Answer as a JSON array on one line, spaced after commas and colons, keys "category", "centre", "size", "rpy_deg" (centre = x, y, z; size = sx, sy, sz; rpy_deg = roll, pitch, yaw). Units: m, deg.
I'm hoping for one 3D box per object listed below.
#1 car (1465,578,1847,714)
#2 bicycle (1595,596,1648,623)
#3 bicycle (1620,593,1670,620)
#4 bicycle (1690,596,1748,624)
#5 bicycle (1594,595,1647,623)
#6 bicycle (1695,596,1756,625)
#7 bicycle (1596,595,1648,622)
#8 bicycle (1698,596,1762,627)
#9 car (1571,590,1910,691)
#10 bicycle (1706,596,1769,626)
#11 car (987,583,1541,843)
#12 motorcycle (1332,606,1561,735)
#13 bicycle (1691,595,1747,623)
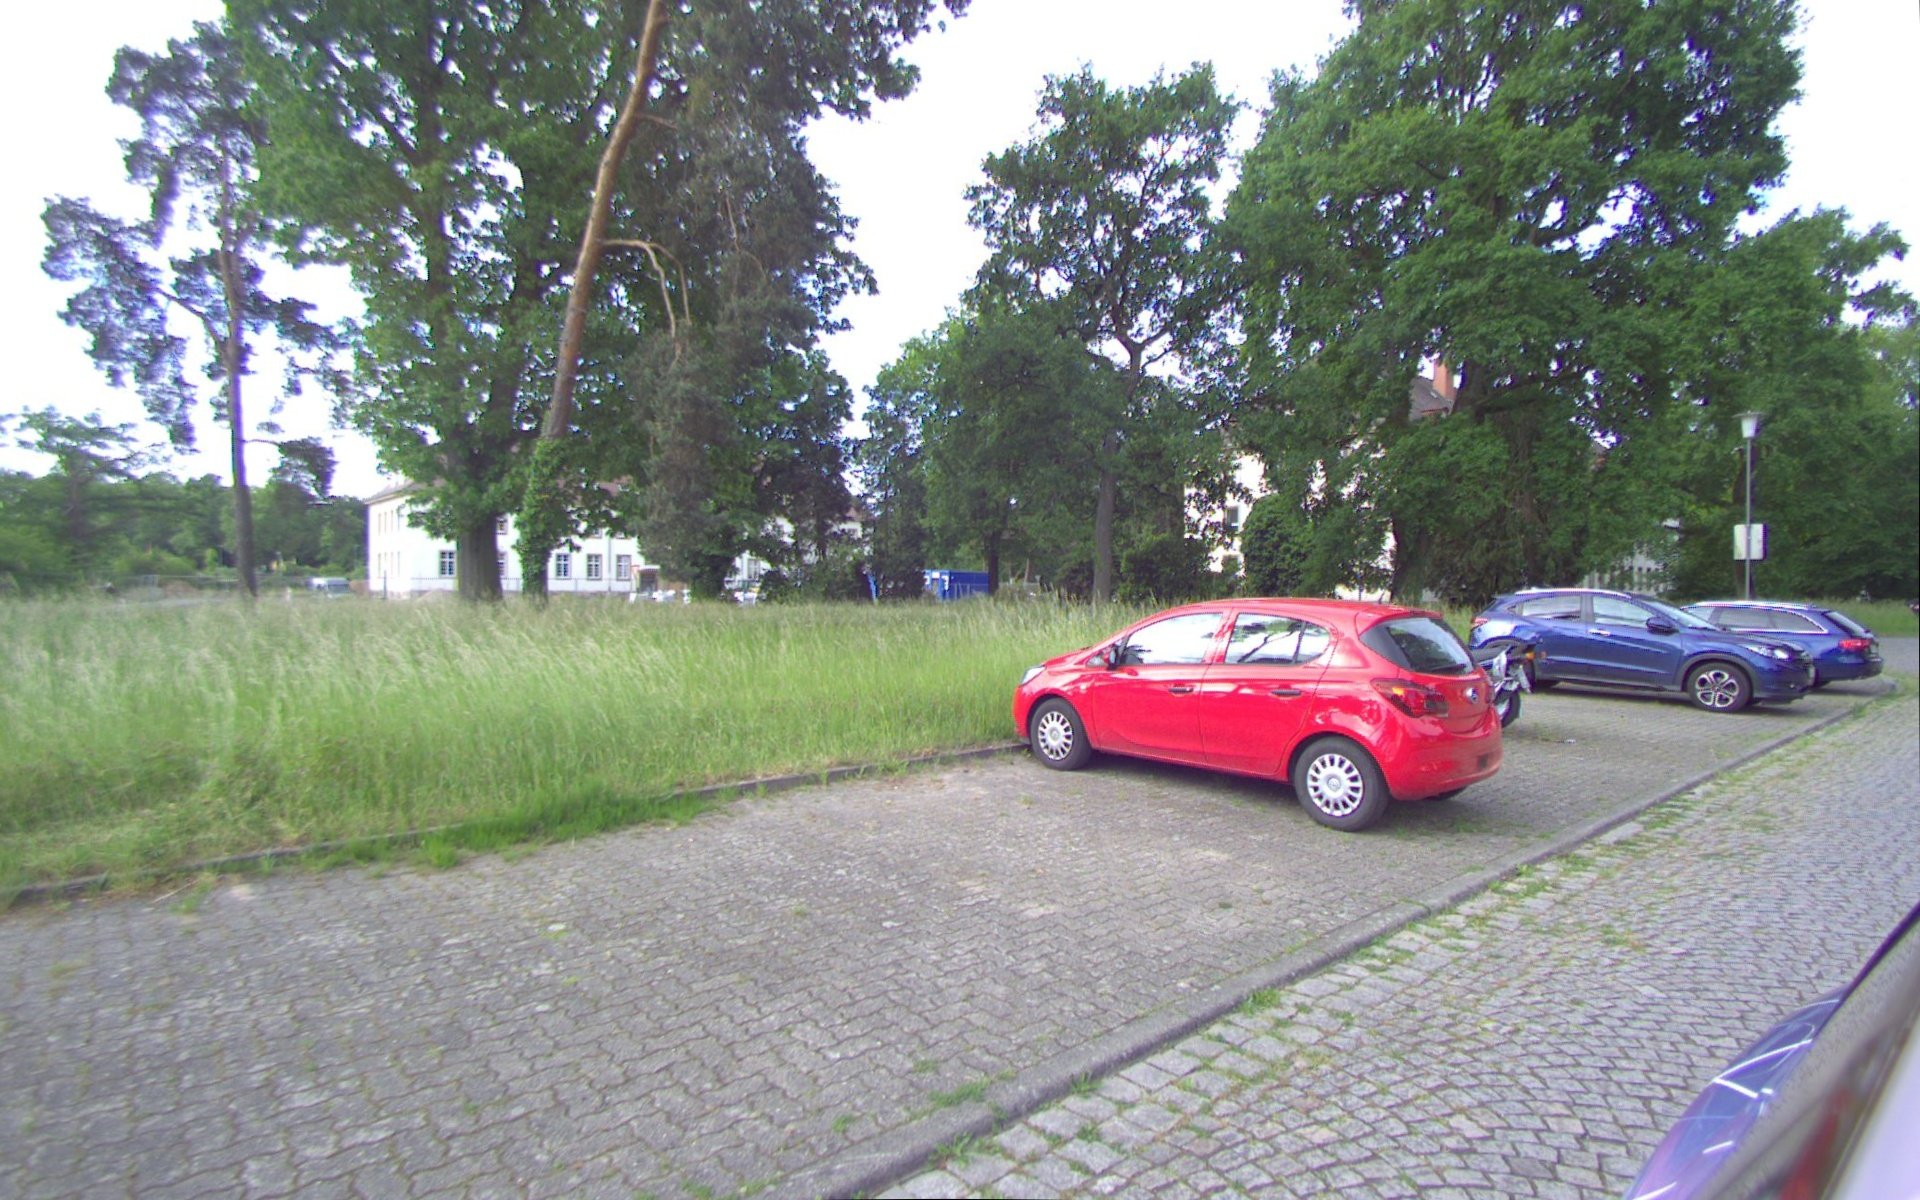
[{"category": "car", "centre": [9.919, 0.525, 14.682], "size": [1.854, 1.643, 4.251], "rpy_deg": [0, 2, -42]}, {"category": "bicycle", "centre": [28.474, 0.405, 43.569], "size": [1.839, 1.185, 0.484], "rpy_deg": [0, 0, 24]}, {"category": "bicycle", "centre": [31.639, 0.291, 46.773], "size": [1.851, 1.184, 0.481], "rpy_deg": [2, 1, 40]}, {"category": "bicycle", "centre": [32.813, 0.428, 43.775], "size": [1.921, 1.185, 0.483], "rpy_deg": [-1, -1, 28]}, {"category": "bicycle", "centre": [28.759, 0.376, 44.094], "size": [1.839, 1.185, 0.484], "rpy_deg": [0, 0, 24]}, {"category": "bicycle", "centre": [31.970, 0.440, 42.292], "size": [1.918, 1.185, 0.484], "rpy_deg": [-1, -1, 24]}, {"category": "bicycle", "centre": [29.198, 0.369, 44.656], "size": [1.842, 1.185, 0.483], "rpy_deg": [0, 0, 28]}, {"category": "bicycle", "centre": [30.726, 0.459, 40.406], "size": [1.916, 1.185, 0.484], "rpy_deg": [-1, -1, 22]}, {"category": "car", "centre": [13.467, 0.603, 17.700], "size": [1.892, 1.457, 4.368], "rpy_deg": [0, 1, -39]}, {"category": "bicycle", "centre": [31.296, 0.449, 40.765], "size": [1.916, 1.185, 0.484], "rpy_deg": [-1, -1, 22]}, {"category": "car", "centre": [2.202, 0.649, 8.129], "size": [1.754, 1.515, 3.929], "rpy_deg": [0, 2, -42]}, {"category": "motorcycle", "centre": [5.337, 0.721, 11.256], "size": [0.558, 1.217, 2.233], "rpy_deg": [0, 2, -43]}, {"category": "bicycle", "centre": [33.929, 0.411, 45.269], "size": [1.925, 1.185, 0.531], "rpy_deg": [-1, -1, 33]}]
